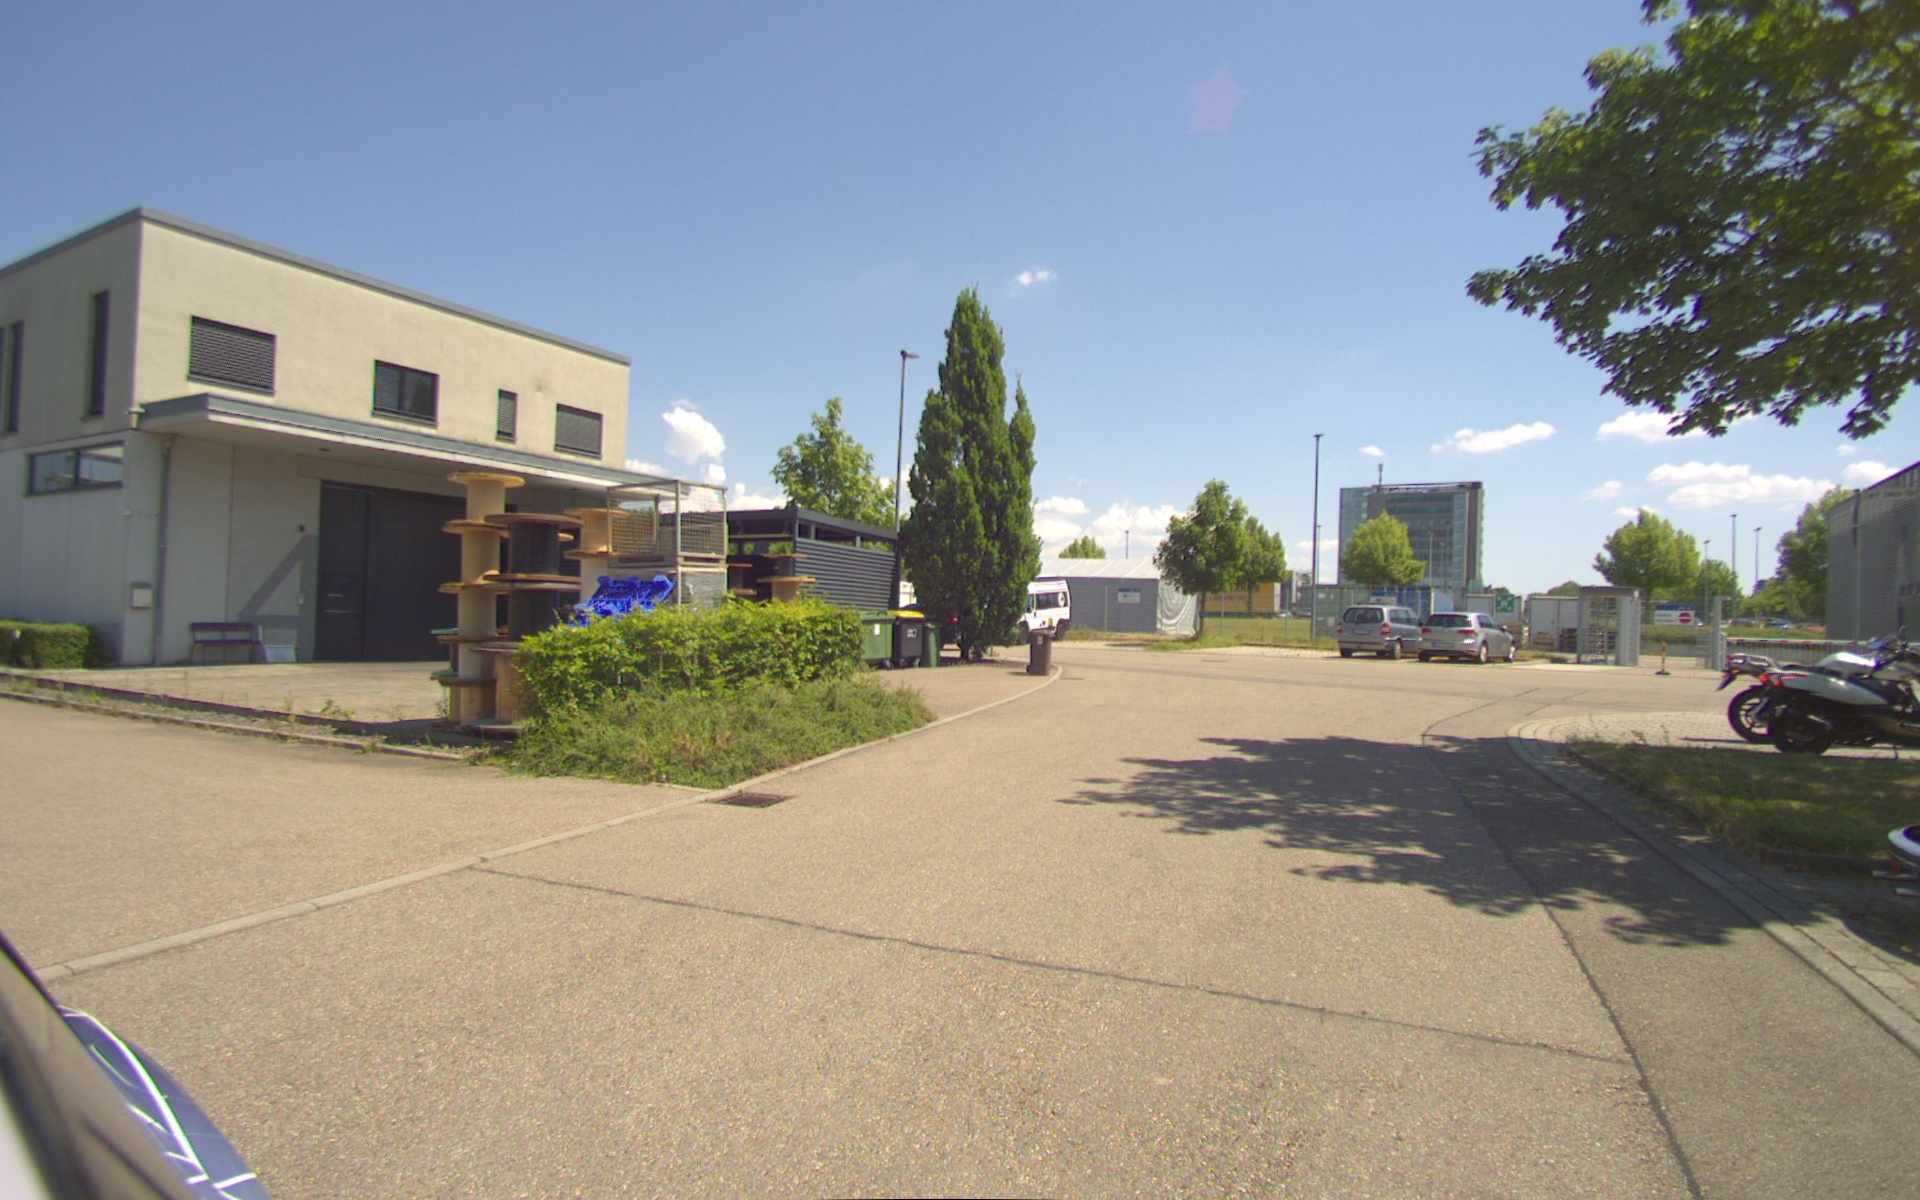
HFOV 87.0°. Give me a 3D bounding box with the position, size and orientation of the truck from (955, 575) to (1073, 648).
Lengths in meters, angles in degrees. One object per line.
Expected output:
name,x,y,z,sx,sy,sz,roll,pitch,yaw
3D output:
truck,2.274,0.464,40.555,2.410,2.692,5.638,0,-1,31

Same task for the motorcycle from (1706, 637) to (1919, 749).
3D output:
motorcycle,9.340,0.980,10.940,1.977,1.117,0.481,0,-1,23

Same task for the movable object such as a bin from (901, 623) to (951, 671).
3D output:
movable object such as a bin,-0.821,1.116,24.316,0.758,1.092,0.976,0,-1,35

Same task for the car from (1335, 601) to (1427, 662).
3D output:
car,13.063,0.941,31.261,1.769,1.751,3.951,0,-1,36

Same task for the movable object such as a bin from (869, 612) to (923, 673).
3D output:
movable object such as a bin,-1.472,0.967,23.440,0.758,1.346,1.060,0,-1,35

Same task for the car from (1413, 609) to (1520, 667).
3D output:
car,14.757,1.062,29.413,1.654,1.533,3.941,0,-1,45

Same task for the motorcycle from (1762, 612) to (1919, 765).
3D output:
motorcycle,8.913,0.824,9.592,1.977,1.400,0.481,0,-1,23

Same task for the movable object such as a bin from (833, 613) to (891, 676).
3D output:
movable object such as a bin,-2.148,0.961,22.283,0.758,1.346,1.060,0,-1,35

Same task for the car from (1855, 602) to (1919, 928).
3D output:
car,6.012,0.754,3.611,3.867,1.459,1.640,1,-1,23

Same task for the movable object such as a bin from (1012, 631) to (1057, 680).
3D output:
movable object such as a bin,1.558,1.156,21.165,0.758,0.977,0.583,0,-1,36

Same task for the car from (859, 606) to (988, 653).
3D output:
car,-1.314,0.998,35.640,4.249,1.525,1.936,0,-1,35
